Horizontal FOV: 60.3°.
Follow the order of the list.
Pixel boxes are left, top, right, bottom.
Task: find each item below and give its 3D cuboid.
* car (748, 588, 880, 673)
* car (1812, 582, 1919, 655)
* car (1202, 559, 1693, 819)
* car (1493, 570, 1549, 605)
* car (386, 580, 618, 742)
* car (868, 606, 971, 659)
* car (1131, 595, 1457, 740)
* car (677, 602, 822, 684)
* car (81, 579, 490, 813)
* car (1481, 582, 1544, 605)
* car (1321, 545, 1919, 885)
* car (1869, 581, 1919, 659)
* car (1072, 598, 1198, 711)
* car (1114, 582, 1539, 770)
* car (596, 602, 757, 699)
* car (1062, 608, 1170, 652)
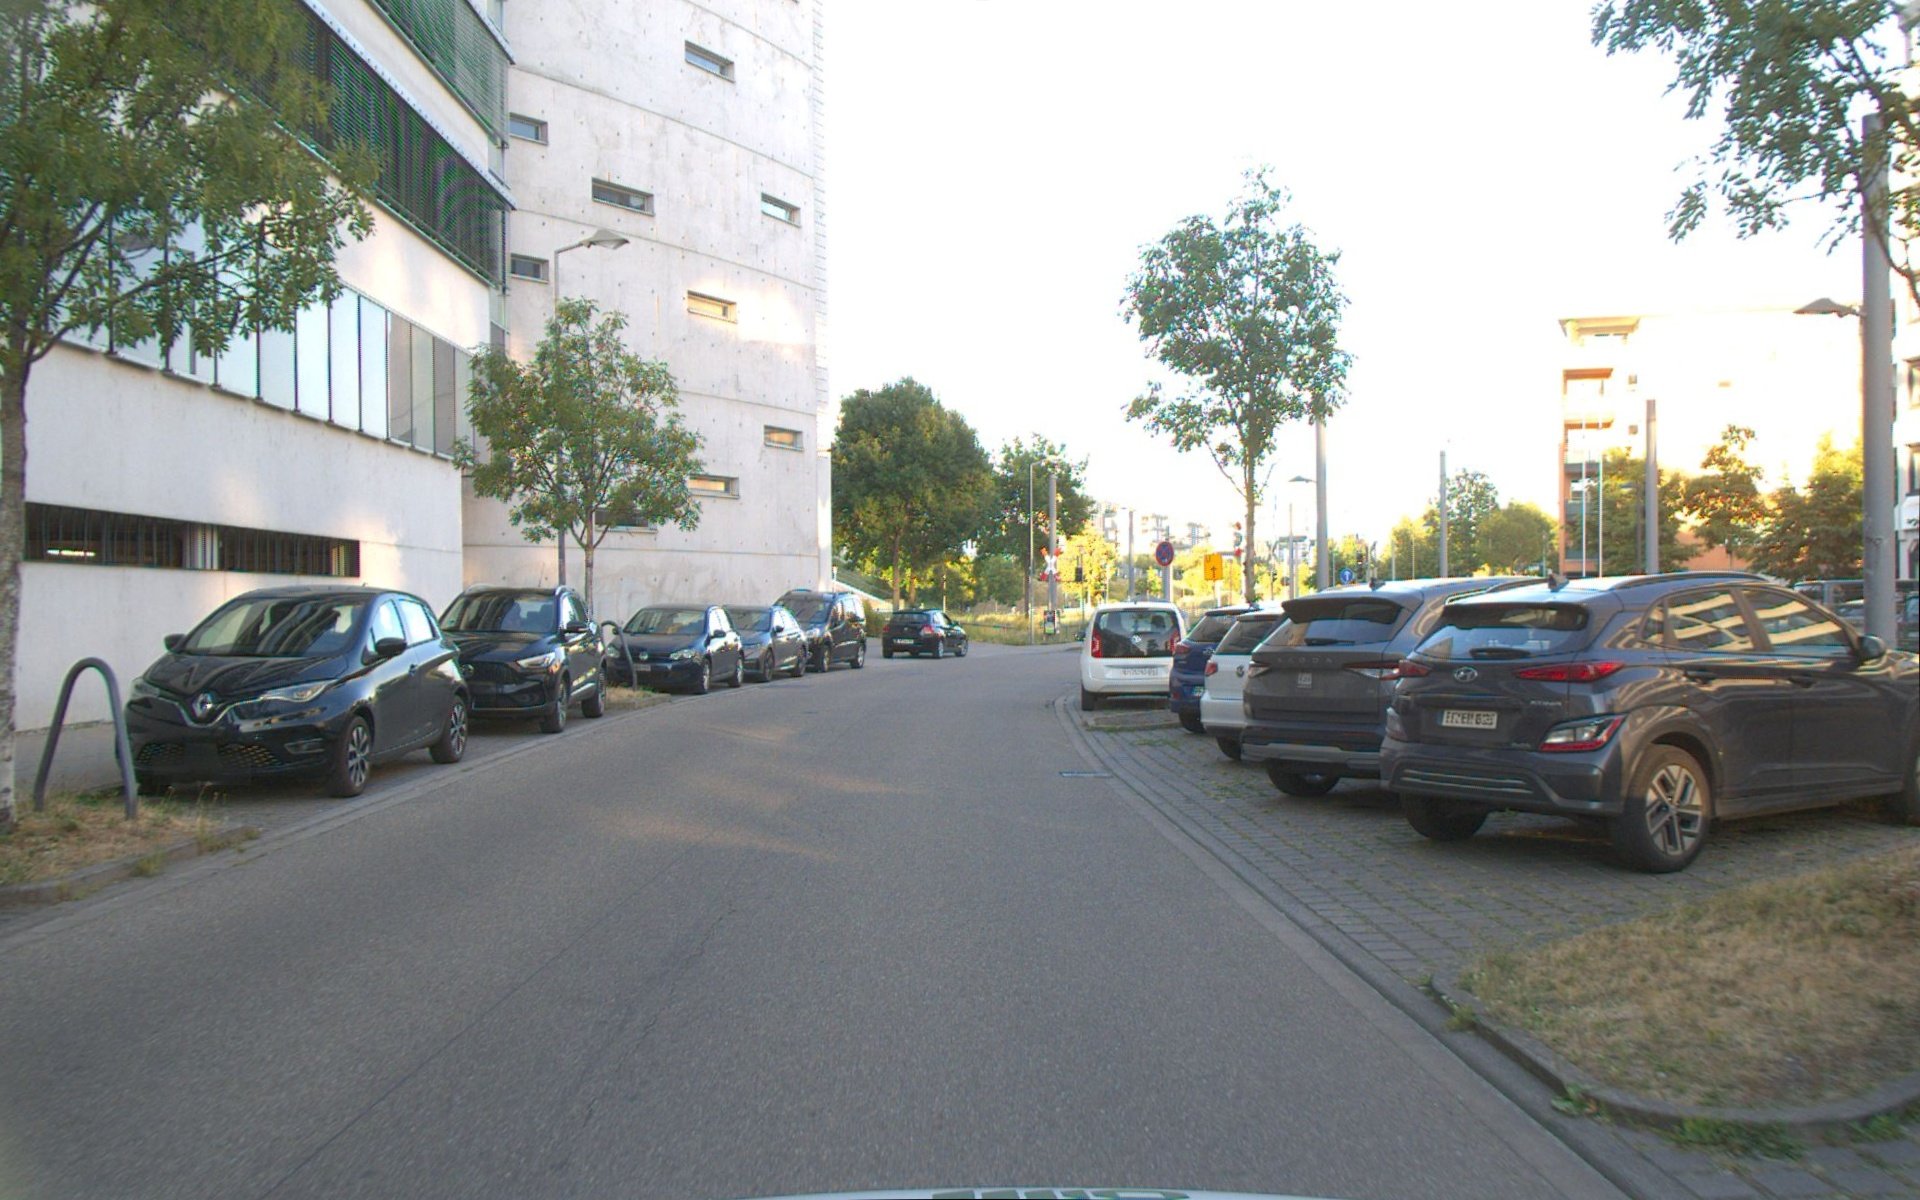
[{"bbox_3d":[-3.349,0.664,38.821,1.720,1.830,4.467,1,0,14],"label":"car"},{"bbox_3d":[22.261,0.393,38.094,4.405,1.630,1.693,-1,0,-2],"label":"car"},{"bbox_3d":[3.869,0.603,12.961,3.734,1.756,1.742,1,0,-35],"label":"car"},{"bbox_3d":[43.389,-0.971,127.960,4.067,2.629,1.703,-1,0,20],"label":"car"},{"bbox_3d":[-5.246,0.630,19.463,1.720,1.682,3.947,1,0,-2],"label":"car"},{"bbox_3d":[-1.144,0.930,49.189,1.903,1.407,4.402,1,0,15],"label":"car"},{"bbox_3d":[3.965,0.735,19.472,3.710,1.535,1.667,1,0,-35],"label":"car"},{"bbox_3d":[-4.193,0.808,33.683,1.686,1.483,4.698,1,0,9],"label":"car"},{"bbox_3d":[-5.258,0.651,13.510,1.720,1.588,4.042,1,0,-1],"label":"car"},{"bbox_3d":[39.063,-0.453,117.007,4.070,1.604,1.702,-1,0,24],"label":"car"},{"bbox_3d":[4.416,0.568,10.254,3.931,1.668,1.954,-2,0,-30],"label":"car"},{"bbox_3d":[22.243,0.392,35.643,4.405,1.630,1.693,-1,0,-2],"label":"car"},{"bbox_3d":[2.591,0.748,24.414,1.686,1.493,3.555,-1,0,6],"label":"car"},{"bbox_3d":[3.682,0.676,16.502,3.882,1.535,1.936,-3,0,-32],"label":"car"},{"bbox_3d":[-4.796,0.805,28.561,1.686,1.483,4.274,1,0,5],"label":"car"},{"bbox_3d":[5.500,1.025,57.984,1.748,1.447,4.498,0,0,36],"label":"car"}]
